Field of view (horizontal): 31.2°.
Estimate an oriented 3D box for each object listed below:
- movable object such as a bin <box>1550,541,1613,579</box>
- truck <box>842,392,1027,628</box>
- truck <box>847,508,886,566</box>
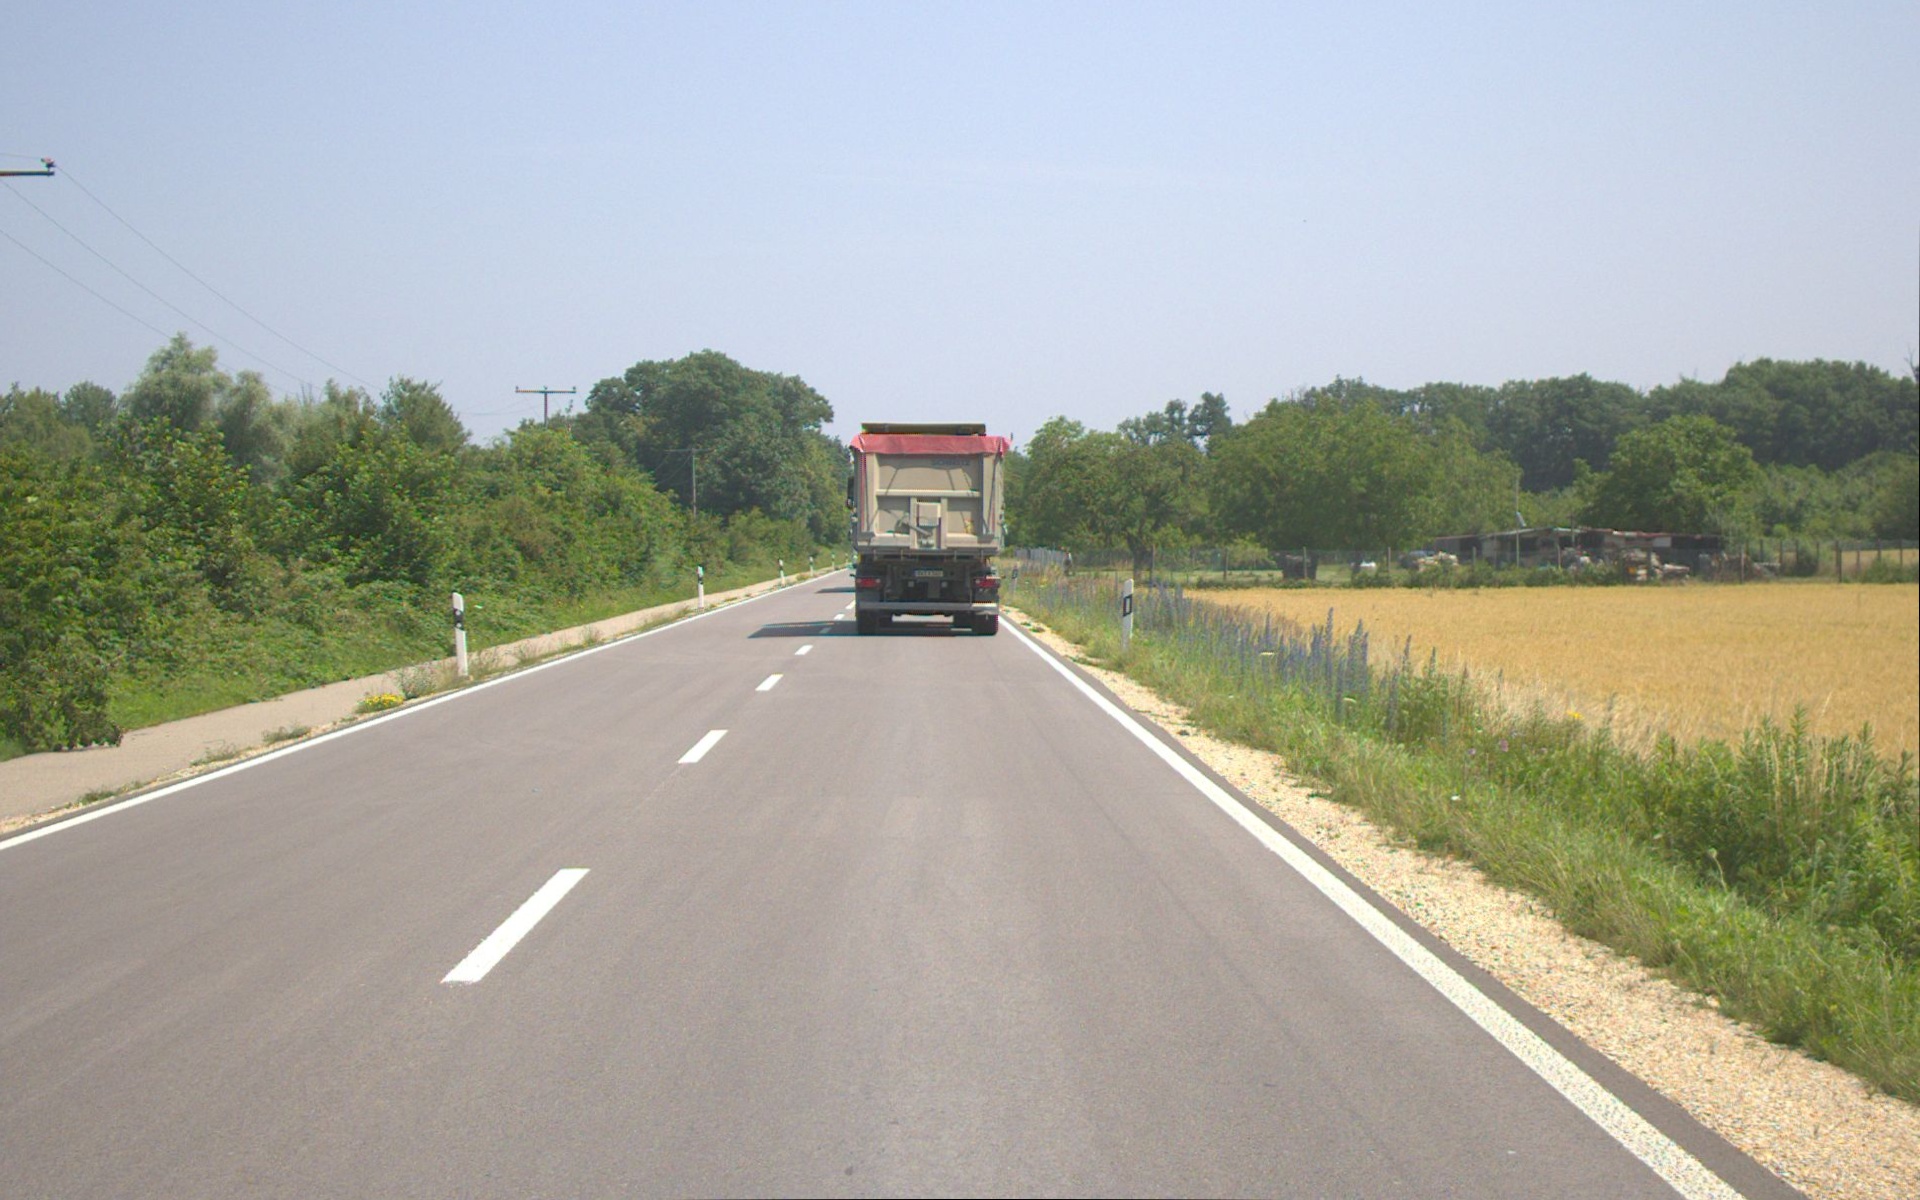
[{"bbox_3d":[25.080,-1.631,138.812,1.570,1.491,3.660,0,1,-5],"label":"movable object such as a bin"},{"bbox_3d":[-0.515,-1.568,63.564,3.009,3.861,12.210,1,1,-1],"label":"truck"},{"bbox_3d":[-7.079,-4.821,261.483,2.717,4.251,7.390,-2,1,-1],"label":"truck"}]
